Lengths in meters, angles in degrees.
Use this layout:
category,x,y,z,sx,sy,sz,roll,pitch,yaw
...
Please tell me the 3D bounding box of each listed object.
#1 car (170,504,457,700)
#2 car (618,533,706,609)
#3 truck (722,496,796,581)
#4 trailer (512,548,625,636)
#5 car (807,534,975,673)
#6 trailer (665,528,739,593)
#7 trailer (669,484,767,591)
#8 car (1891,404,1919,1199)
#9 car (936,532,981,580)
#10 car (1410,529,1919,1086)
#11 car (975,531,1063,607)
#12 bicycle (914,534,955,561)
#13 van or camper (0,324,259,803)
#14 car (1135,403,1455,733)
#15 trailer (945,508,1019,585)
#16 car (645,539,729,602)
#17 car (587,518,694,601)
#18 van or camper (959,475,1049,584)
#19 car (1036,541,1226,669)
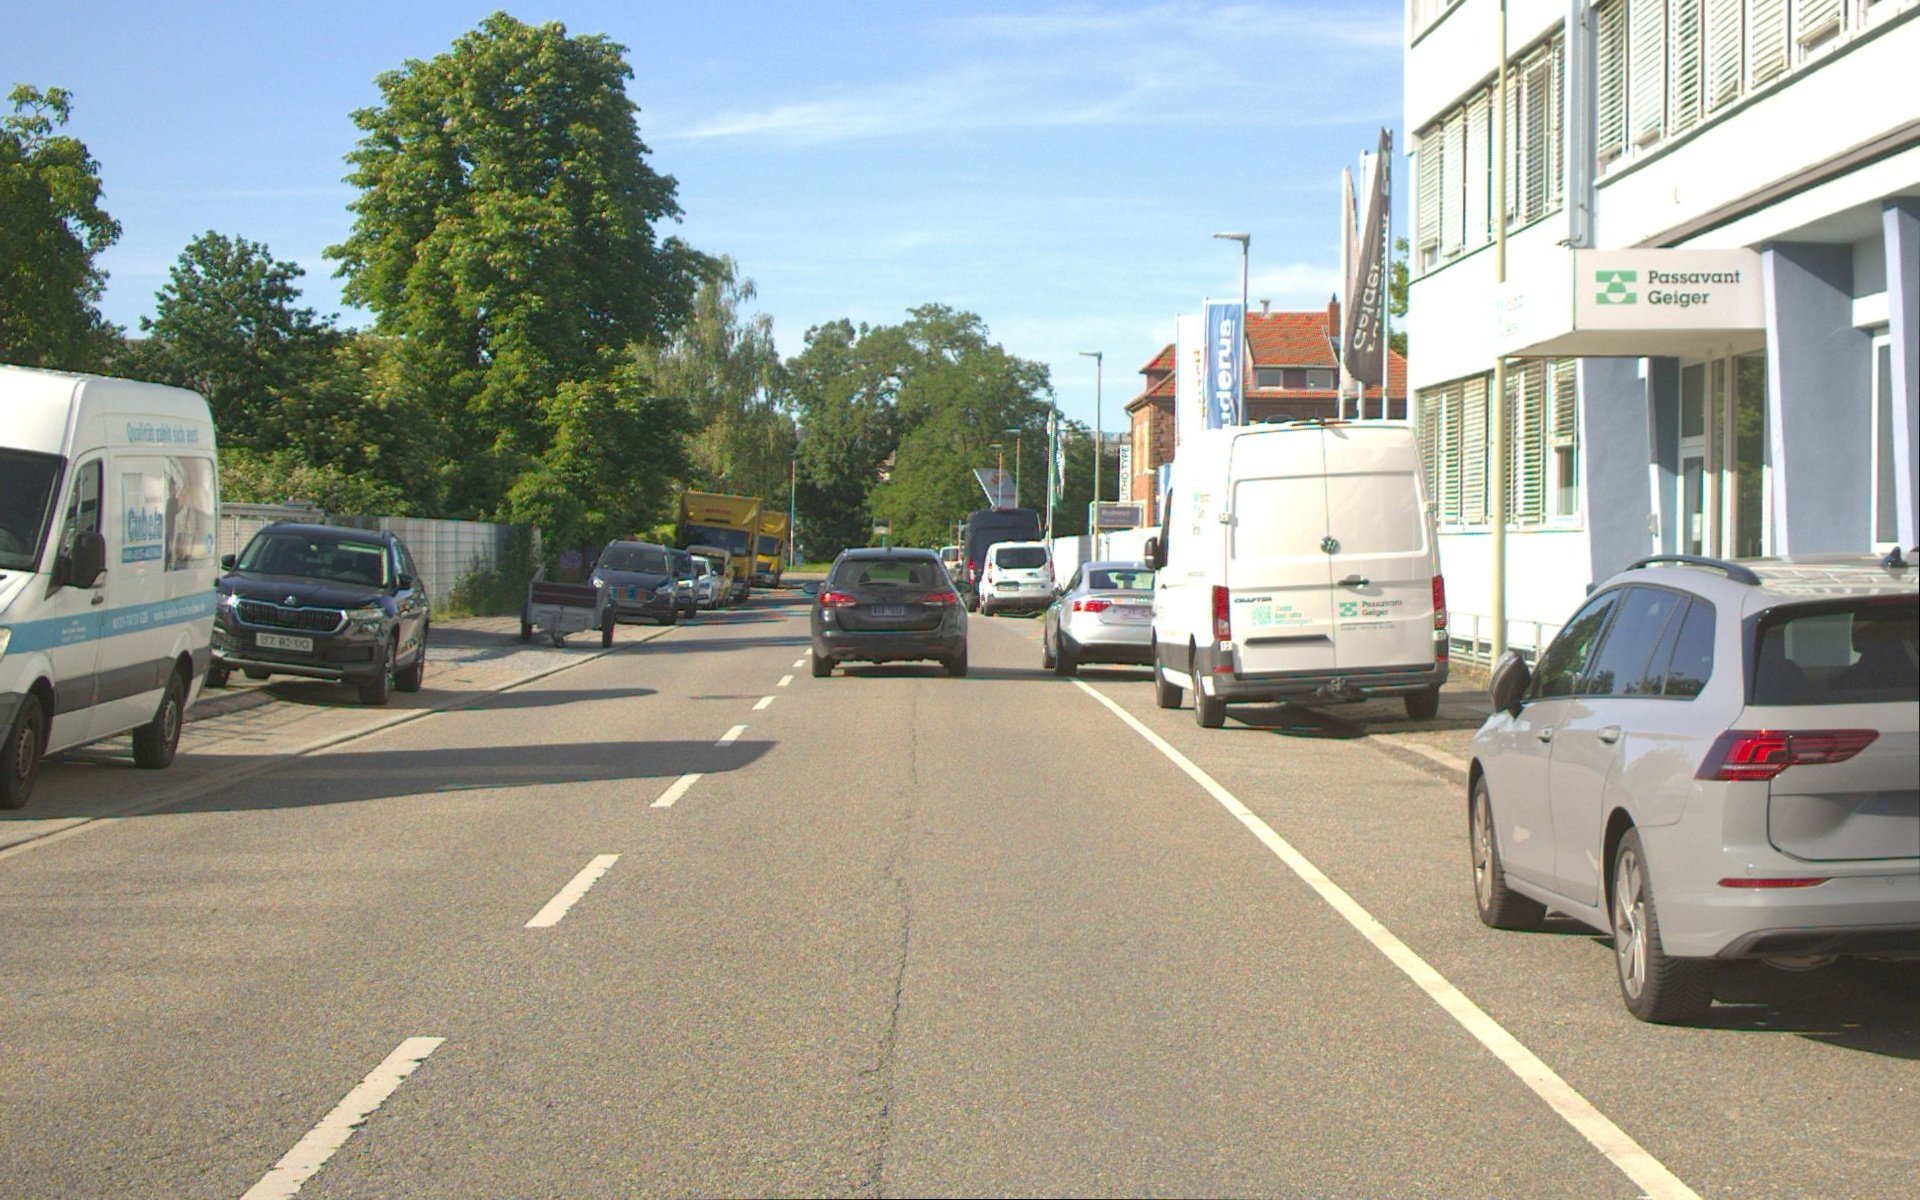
category,x,y,z,sx,sy,sz,roll,pitch,yaw
car,-6.452,-0.037,34.888,2.030,1.688,5.107,4,1,-2
car,-7.333,-0.742,84.983,1.908,1.657,4.464,5,1,-3
truck,-9.223,-2.896,158.762,2.631,3.493,8.657,7,2,-1
trailer,-6.366,-0.149,56.120,1.476,1.349,3.079,2,1,-1
car,-0.768,-0.001,39.805,1.847,1.525,4.000,0,1,0
trailer,-7.798,-1.190,104.277,1.993,1.935,4.415,0,1,-1
trailer,-8.045,-2.082,115.174,2.991,3.431,8.162,0,1,-2
car,2.847,0.575,4.503,1.889,1.826,5.090,1,1,1
car,-0.102,-1.955,152.748,1.874,2.007,5.160,2,0,-1
car,2.966,0.550,12.216,1.889,1.555,5.091,1,1,-2
car,1.454,-0.782,86.247,1.885,1.791,5.104,2,0,-2
bicycle,-1.271,-2.592,169.806,0.803,1.263,2.258,2,0,-36
van or camper,-6.227,-0.332,21.976,1.966,2.676,5.948,6,1,1
car,2.837,-0.358,30.510,1.993,2.589,6.052,-1,2,-2
trailer,0.754,-1.910,122.699,2.459,2.663,5.702,1,1,-1
car,-7.781,-0.869,98.353,1.908,1.587,5.025,5,1,0
car,-6.862,-0.891,74.199,1.791,1.725,4.802,0,1,1
van or camper,1.154,-1.862,92.676,2.140,2.750,6.162,2,0,-1
car,2.017,0.036,41.902,1.894,1.400,5.124,2,0,-1
